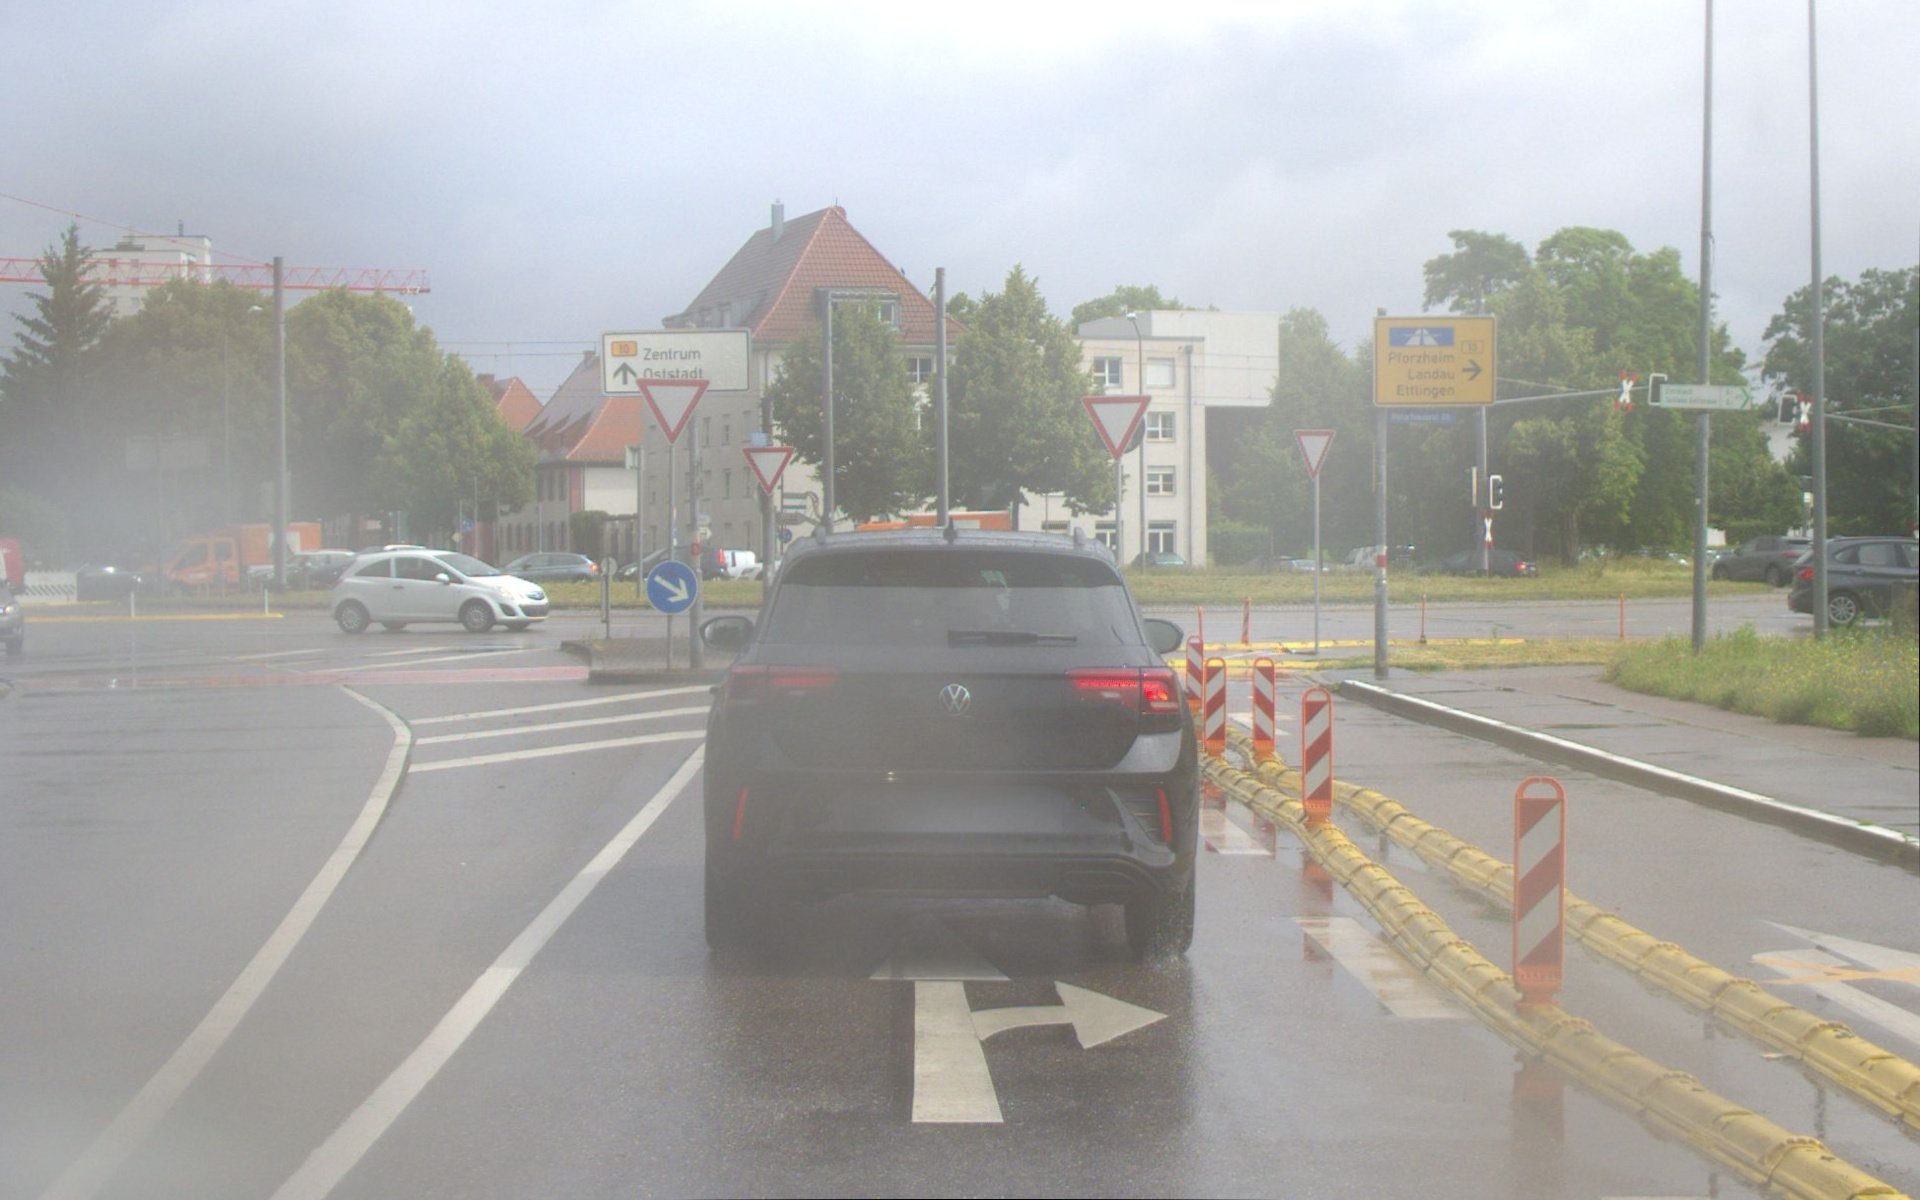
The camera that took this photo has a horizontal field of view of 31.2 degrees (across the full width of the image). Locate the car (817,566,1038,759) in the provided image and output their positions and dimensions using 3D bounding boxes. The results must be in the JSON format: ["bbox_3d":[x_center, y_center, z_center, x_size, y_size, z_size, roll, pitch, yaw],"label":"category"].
[{"bbox_3d":[-0.335,0.484,29.293,1.735,1.509,3.604,0,1,-3],"label":"car"}]

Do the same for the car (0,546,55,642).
[{"bbox_3d":[-17.436,-0.030,58.060,4.421,1.546,1.783,-2,2,38],"label":"car"}]

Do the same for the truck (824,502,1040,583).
[{"bbox_3d":[-0.937,-1.900,113.713,7.066,2.641,2.330,0,1,0],"label":"truck"}]

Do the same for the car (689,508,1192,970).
[{"bbox_3d":[-0.187,0.461,13.601,1.708,1.568,3.683,1,1,-4],"label":"car"}]

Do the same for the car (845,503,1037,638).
[{"bbox_3d":[-0.210,-0.434,48.242,1.865,1.803,4.402,0,1,11],"label":"car"}]

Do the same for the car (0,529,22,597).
[{"bbox_3d":[-27.720,-0.990,93.287,1.890,1.870,5.128,0,1,18],"label":"car"}]

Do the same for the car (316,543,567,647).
[{"bbox_3d":[-9.295,-0.096,61.785,3.989,1.824,1.999,0,1,14],"label":"car"}]

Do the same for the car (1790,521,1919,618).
[{"bbox_3d":[16.337,-0.522,58.880,3.942,1.639,1.670,0,1,6],"label":"car"}]

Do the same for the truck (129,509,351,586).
[{"bbox_3d":[-23.600,-1.737,112.812,6.703,2.434,2.433,-1,1,-36],"label":"truck"}]
